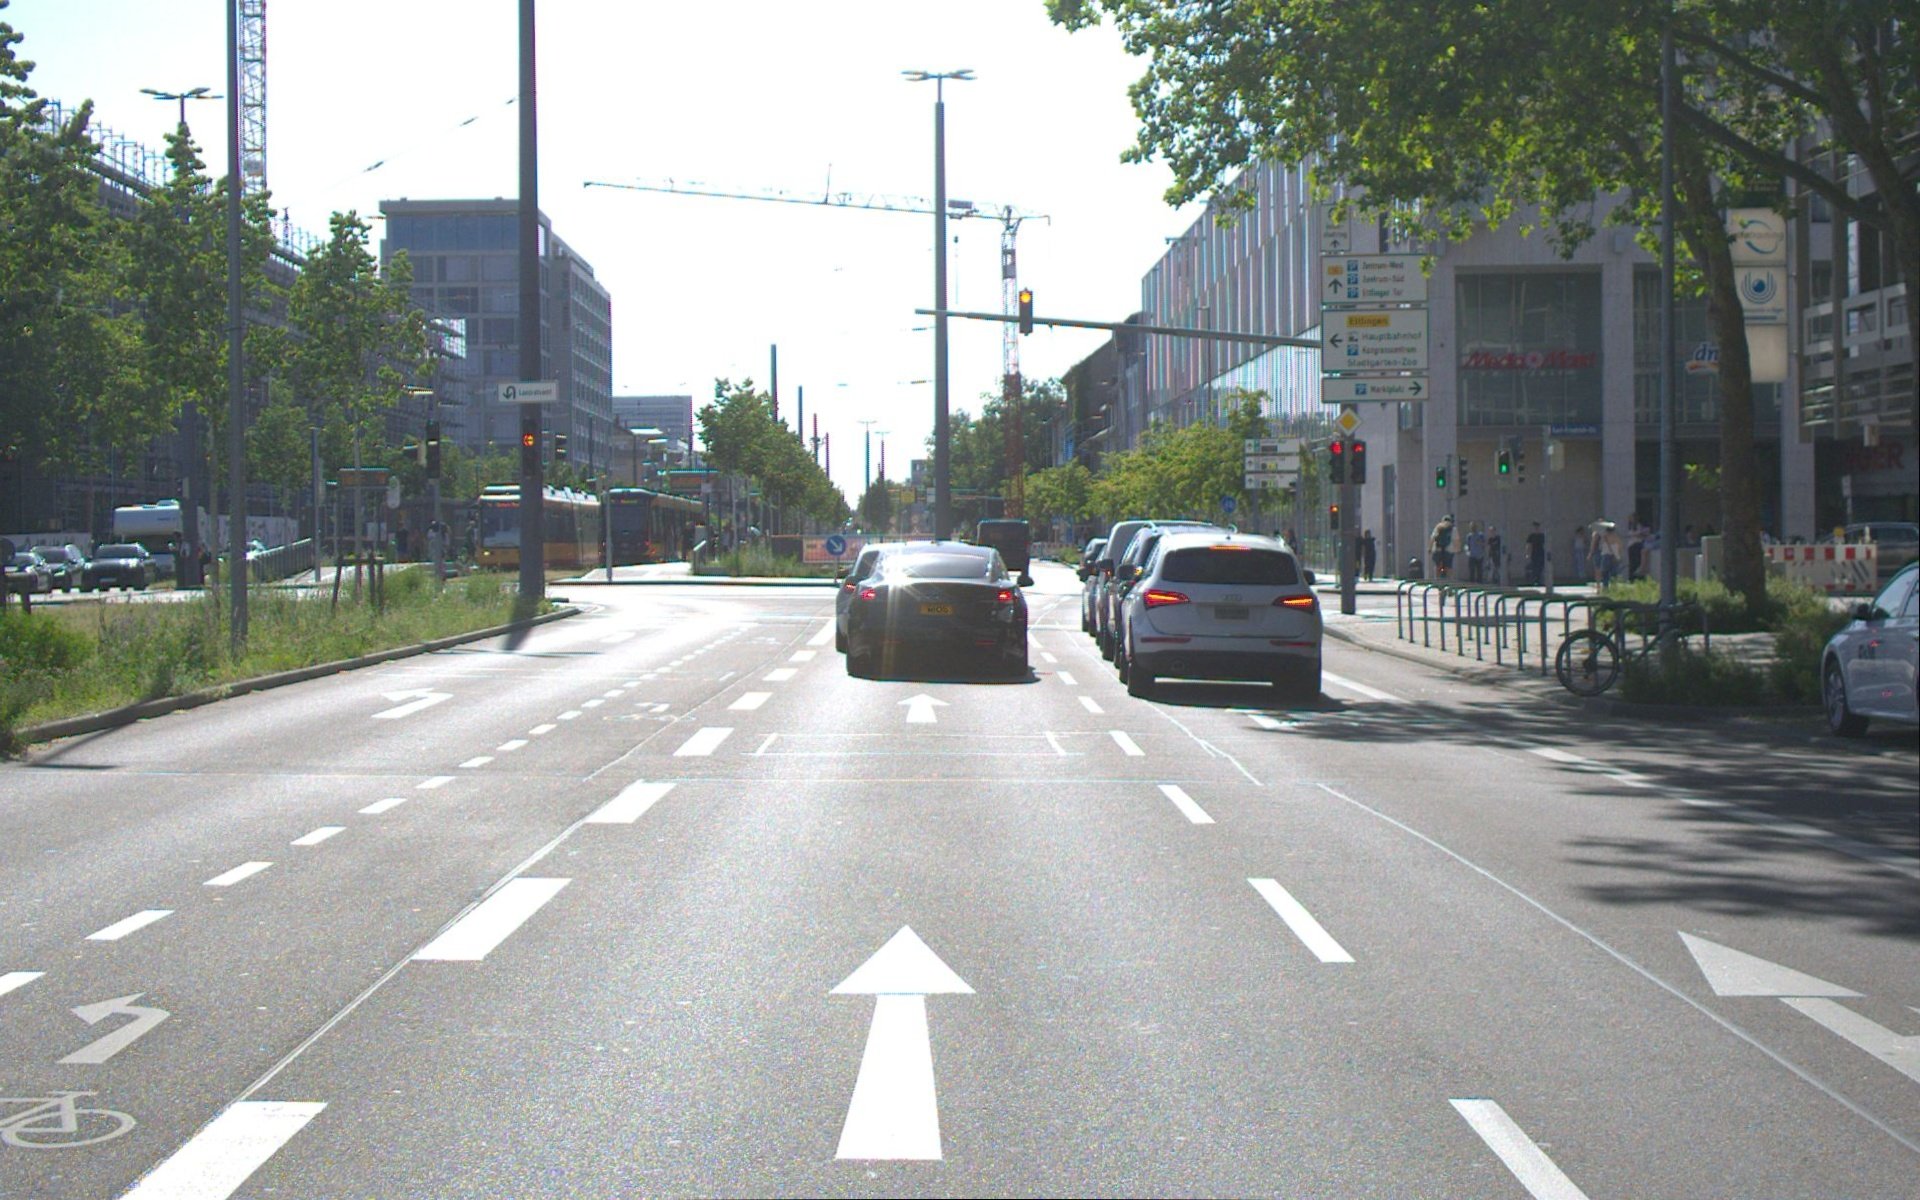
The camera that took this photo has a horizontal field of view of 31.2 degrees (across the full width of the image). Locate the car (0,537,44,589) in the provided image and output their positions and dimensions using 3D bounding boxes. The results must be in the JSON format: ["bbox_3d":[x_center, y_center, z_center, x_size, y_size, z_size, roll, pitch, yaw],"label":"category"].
[{"bbox_3d":[-30.649,-1.186,109.677,1.837,1.607,3.896,2,0,-1],"label":"car"}]

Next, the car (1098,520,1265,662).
[{"bbox_3d":[2.664,-0.152,42.111,1.721,1.647,4.187,0,1,-1],"label":"car"}]

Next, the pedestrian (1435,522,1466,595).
[{"bbox_3d":[9.878,-0.834,69.225,0.562,1.435,0.631,2,0,7],"label":"pedestrian"}]

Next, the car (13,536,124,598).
[{"bbox_3d":[-17.754,-0.650,68.560,1.376,1.174,3.220,2,0,-1],"label":"car"}]

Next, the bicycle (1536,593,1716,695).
[{"bbox_3d":[6.690,0.442,34.555,1.693,0.954,0.478,-2,1,-4],"label":"bicycle"}]

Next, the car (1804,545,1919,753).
[{"bbox_3d":[7.862,0.344,26.209,1.704,1.487,4.601,0,1,0],"label":"car"}]

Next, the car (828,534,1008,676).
[{"bbox_3d":[-0.486,0.014,38.532,1.912,1.481,4.010,0,1,-1],"label":"car"}]

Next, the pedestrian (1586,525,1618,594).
[{"bbox_3d":[13.457,-0.847,72.055,0.562,1.435,0.631,2,0,7],"label":"pedestrian"}]

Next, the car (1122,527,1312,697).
[{"bbox_3d":[2.564,0.073,35.087,1.721,1.612,4.186,0,1,1],"label":"car"}]

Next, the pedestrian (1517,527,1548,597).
[{"bbox_3d":[11.810,-0.786,70.966,0.562,1.435,0.631,2,0,7],"label":"pedestrian"}]

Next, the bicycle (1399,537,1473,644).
[{"bbox_3d":[6.578,-0.137,47.632,0.562,1.435,2.577,2,0,-1],"label":"bicycle"}]

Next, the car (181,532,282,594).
[{"bbox_3d":[-14.718,-0.741,69.597,1.376,1.174,3.220,2,0,-1],"label":"car"}]

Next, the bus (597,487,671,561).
[{"bbox_3d":[-13.853,-3.177,146.530,2.627,2.949,9.900,2,0,-3],"label":"bus"}]

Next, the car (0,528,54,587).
[{"bbox_3d":[-19.561,-0.867,70.015,1.376,1.174,3.220,2,0,-1],"label":"car"}]

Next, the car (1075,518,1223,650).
[{"bbox_3d":[2.624,-0.262,48.499,1.721,1.776,4.187,0,1,-2],"label":"car"}]

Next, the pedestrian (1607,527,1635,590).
[{"bbox_3d":[15.482,-0.971,80.530,0.562,1.435,0.631,2,0,7],"label":"pedestrian"}]

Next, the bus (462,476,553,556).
[{"bbox_3d":[-17.027,-3.112,129.746,2.627,2.773,8.845,2,0,-3],"label":"bus"}]

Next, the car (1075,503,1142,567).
[{"bbox_3d":[4.943,-2.156,114.783,1.993,2.007,4.000,2,0,0],"label":"car"}]

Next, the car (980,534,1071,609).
[{"bbox_3d":[1.268,-0.584,67.913,1.721,1.427,4.186,0,1,0],"label":"car"}]

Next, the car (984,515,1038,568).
[{"bbox_3d":[2.004,-2.303,136.206,1.993,2.007,4.000,2,0,0],"label":"car"}]
